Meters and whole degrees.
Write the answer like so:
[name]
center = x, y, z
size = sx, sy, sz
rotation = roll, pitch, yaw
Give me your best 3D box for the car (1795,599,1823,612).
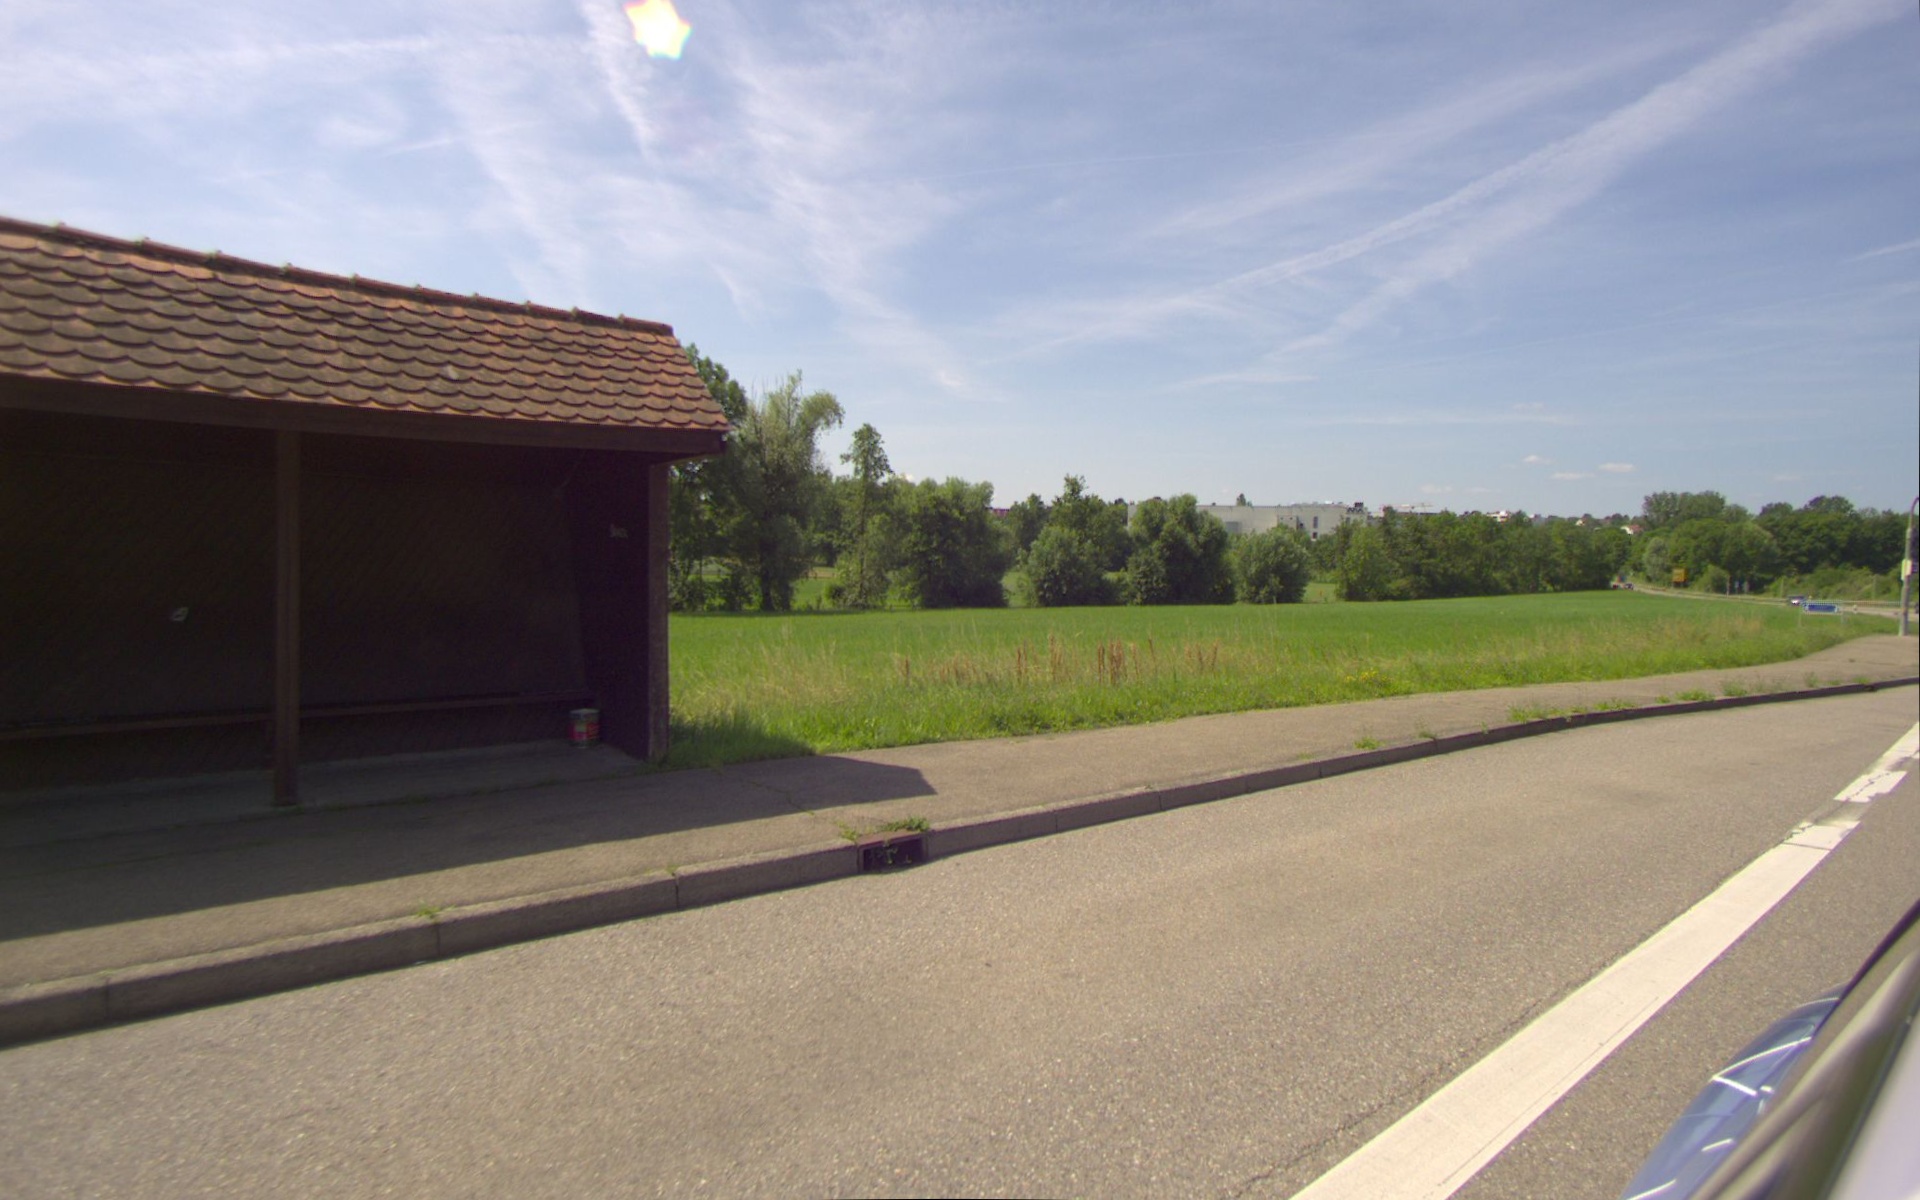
[car]
center = 105.761, 0.634, 126.062
size = 1.983, 1.605, 3.957
rotation = 0, 0, 30
